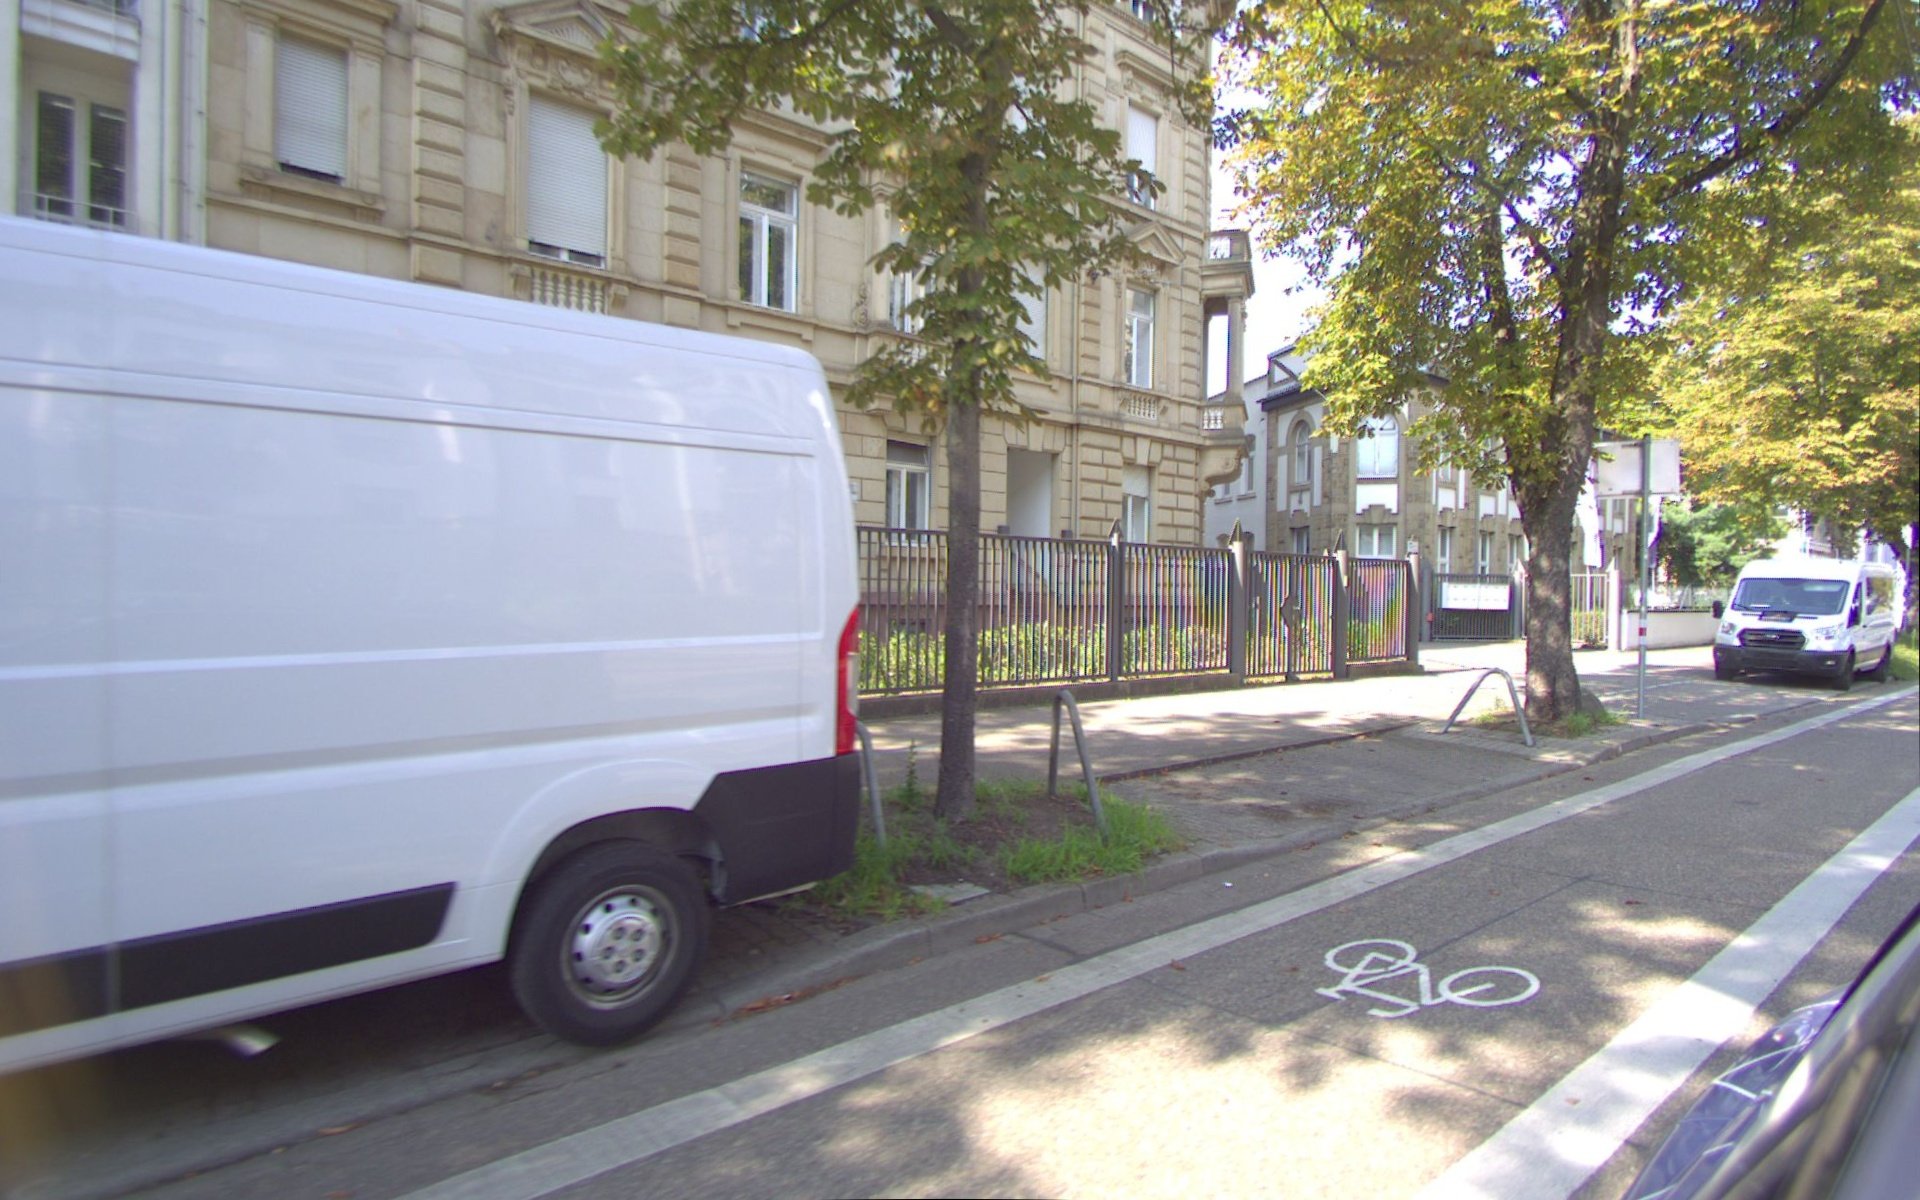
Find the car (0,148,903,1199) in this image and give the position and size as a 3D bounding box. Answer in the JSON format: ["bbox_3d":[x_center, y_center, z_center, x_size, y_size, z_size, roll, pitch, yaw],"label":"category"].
[{"bbox_3d":[-3.244,0.181,2.875,6.118,2.529,2.050,0,2,-40],"label":"car"}]

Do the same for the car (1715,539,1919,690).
[{"bbox_3d":[17.021,0.205,19.952,5.762,2.572,1.999,0,3,-39],"label":"car"}]
